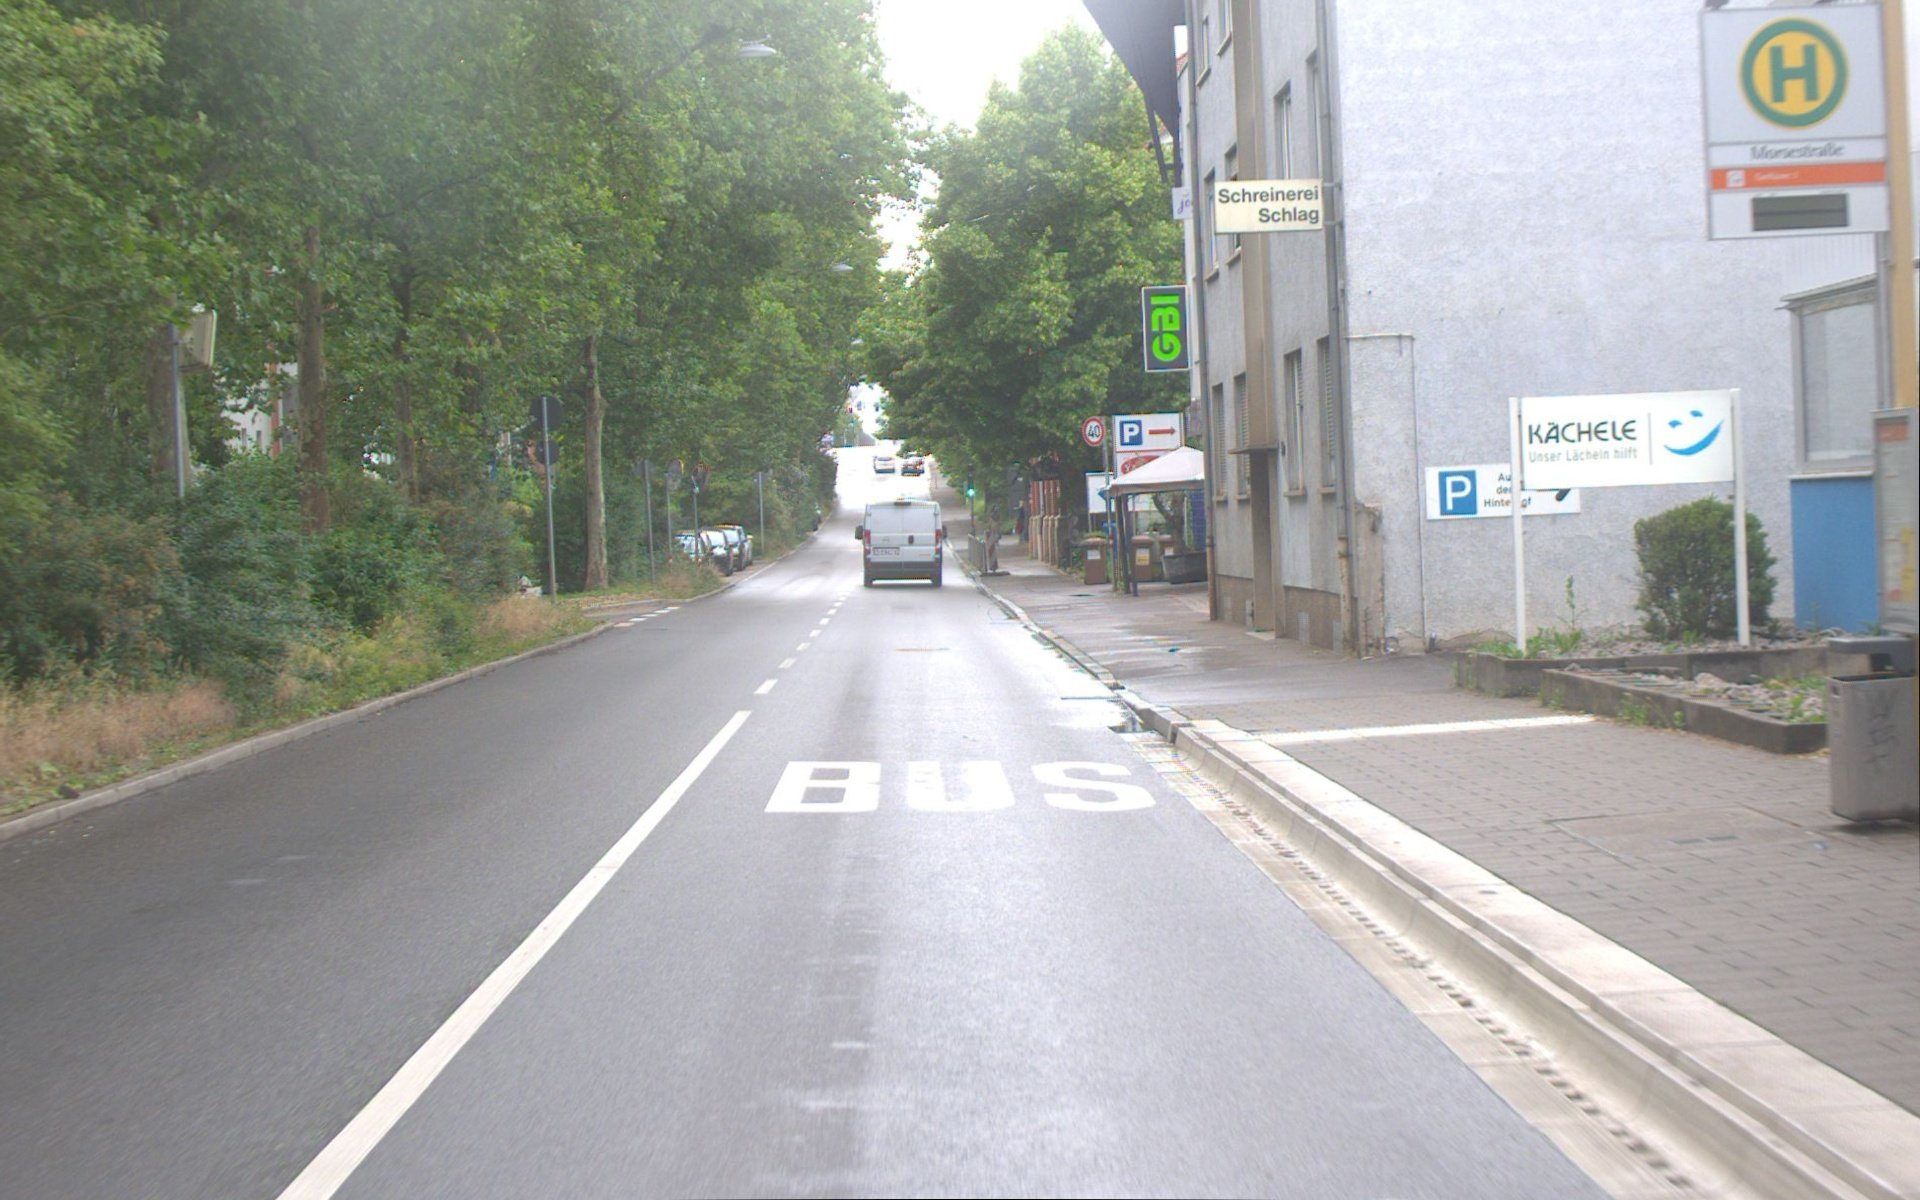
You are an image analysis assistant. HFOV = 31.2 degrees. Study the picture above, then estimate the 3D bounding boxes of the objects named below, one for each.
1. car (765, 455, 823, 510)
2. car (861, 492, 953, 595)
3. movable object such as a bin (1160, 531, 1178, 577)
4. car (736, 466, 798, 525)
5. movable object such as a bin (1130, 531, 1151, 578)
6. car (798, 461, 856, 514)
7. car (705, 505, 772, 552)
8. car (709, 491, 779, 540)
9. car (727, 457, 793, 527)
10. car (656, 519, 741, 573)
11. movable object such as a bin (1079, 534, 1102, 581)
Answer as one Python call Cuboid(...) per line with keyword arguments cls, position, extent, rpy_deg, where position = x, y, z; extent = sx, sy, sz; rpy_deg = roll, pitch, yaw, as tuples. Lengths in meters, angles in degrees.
Cuboid(cls="car", position=(-7.391, -5.215, 153.415), extent=(2.215, 2.286, 4.609), rpy_deg=(0, 0, 1))
Cuboid(cls="car", position=(-1.374, -1.455, 90.028), extent=(2.282, 2.544, 4.000), rpy_deg=(-1, -1, -1))
Cuboid(cls="movable object such as a bin", position=(4.850, -1.061, 79.815), extent=(0.356, 1.063, 0.358), rpy_deg=(0, -1, -7))
Cuboid(cls="car", position=(-8.166, -4.417, 145.782), extent=(2.215, 2.286, 4.609), rpy_deg=(0, -1, 1))
Cuboid(cls="movable object such as a bin", position=(4.190, -1.060, 79.820), extent=(0.399, 1.063, 0.358), rpy_deg=(-1, -1, -7))
Cuboid(cls="car", position=(-6.240, -5.286, 161.818), extent=(2.216, 2.286, 4.608), rpy_deg=(0, -1, 4))
Cuboid(cls="car", position=(-7.911, -2.540, 123.010), extent=(1.995, 1.538, 4.609), rpy_deg=(0, -1, 1))
Cuboid(cls="car", position=(-8.097, -3.154, 129.319), extent=(2.215, 1.685, 4.609), rpy_deg=(0, -1, 1))
Cuboid(cls="car", position=(-7.832, -4.208, 134.917), extent=(2.215, 2.525, 4.609), rpy_deg=(0, -1, 1))
Cuboid(cls="car", position=(-8.268, -1.691, 109.005), extent=(2.215, 1.587, 4.609), rpy_deg=(0, -1, 1))
Cuboid(cls="movable object such as a bin", position=(3.028, -0.982, 79.759), extent=(0.399, 1.063, 0.358), rpy_deg=(-5, 0, -7))
